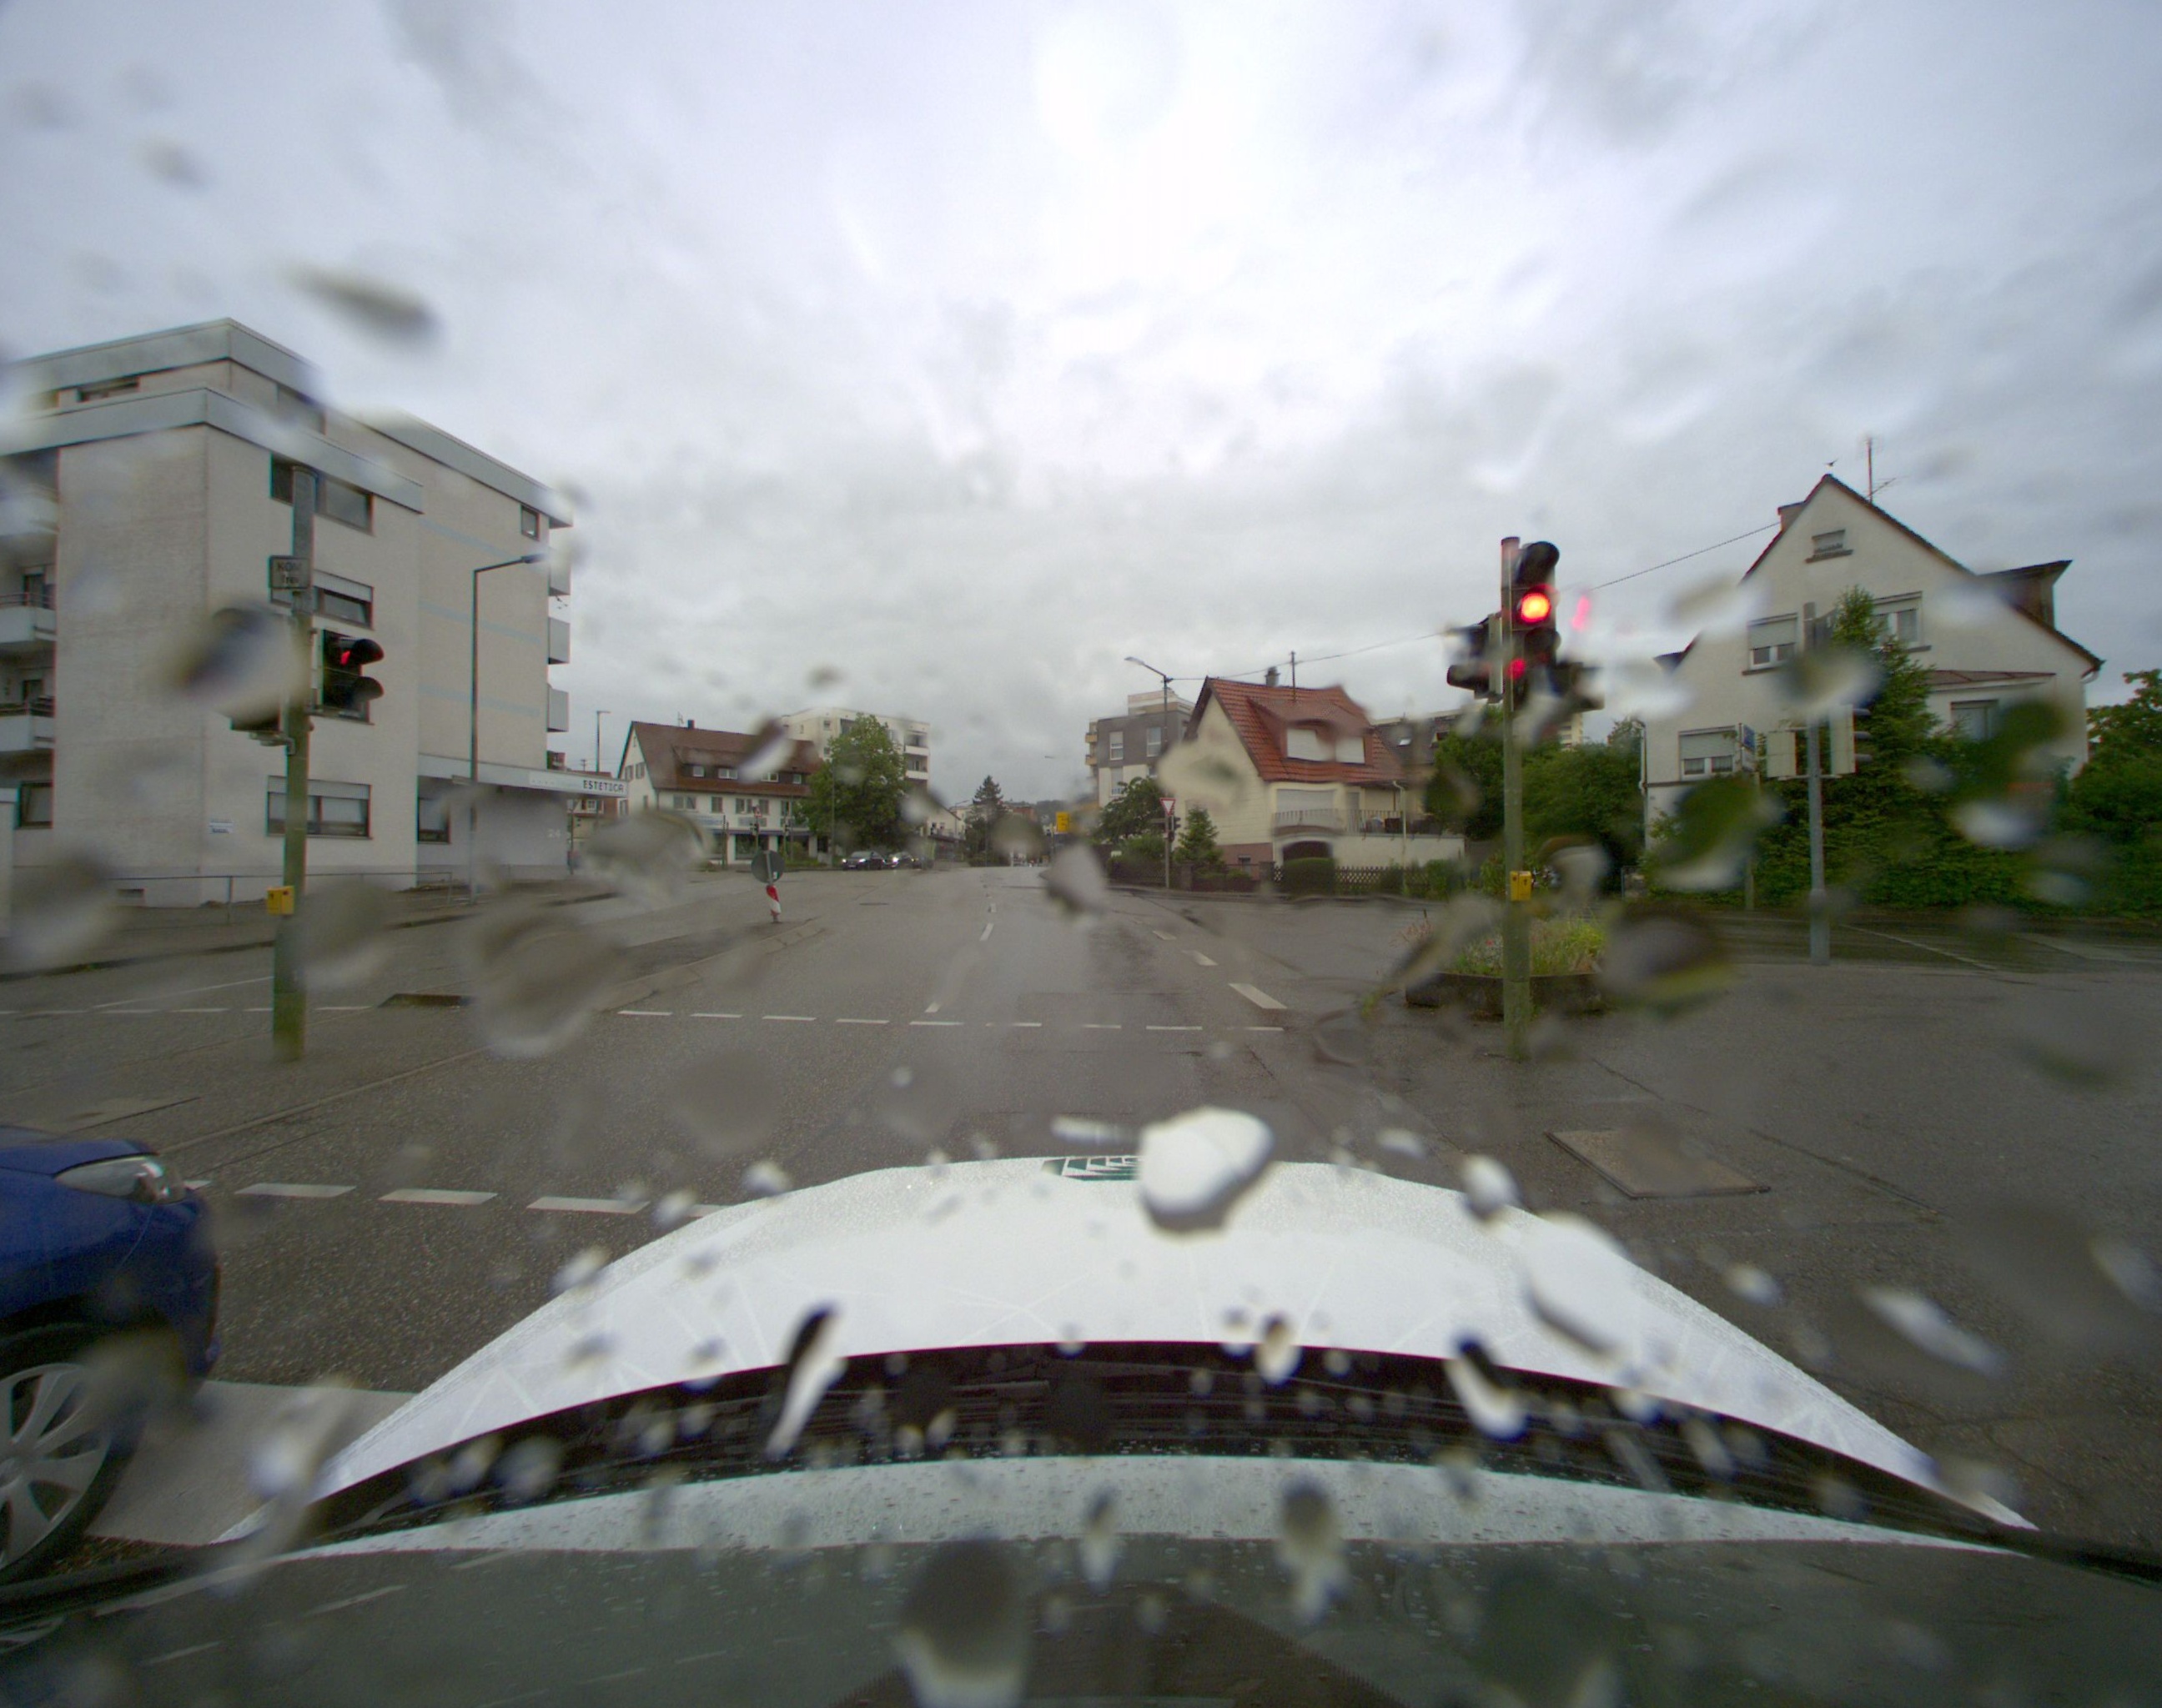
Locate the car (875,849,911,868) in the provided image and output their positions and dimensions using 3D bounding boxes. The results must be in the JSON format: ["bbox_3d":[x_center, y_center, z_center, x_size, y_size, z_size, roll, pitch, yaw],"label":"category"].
[{"bbox_3d":[-15.276,0.345,66.309,1.960,1.512,3.999,0,-1,0],"label":"car"}]

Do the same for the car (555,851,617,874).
[{"bbox_3d":[-41.222,0.673,67.812,4.093,1.843,1.864,0,-1,-44],"label":"car"}]

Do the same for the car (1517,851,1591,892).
[{"bbox_3d":[17.106,0.602,29.382,1.794,1.362,4.025,-1,-1,37],"label":"car"}]

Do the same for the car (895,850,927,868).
[{"bbox_3d":[-14.966,0.442,71.805,1.873,1.597,4.184,0,-1,0],"label":"car"}]

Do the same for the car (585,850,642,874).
[{"bbox_3d":[-38.448,0.634,66.989,3.706,1.920,1.864,0,-1,-44],"label":"car"}]

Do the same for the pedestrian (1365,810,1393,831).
[{"bbox_3d":[12.765,-1.429,34.867,0.918,0.883,0.632,0,-3,-18],"label":"pedestrian"}]

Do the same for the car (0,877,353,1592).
[{"bbox_3d":[-2.957,0.787,0.736,1.499,1.413,3.365,0,0,2],"label":"car"}]

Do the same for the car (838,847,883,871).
[{"bbox_3d":[-15.896,0.364,58.850,1.987,1.625,4.538,0,-1,0],"label":"car"}]
